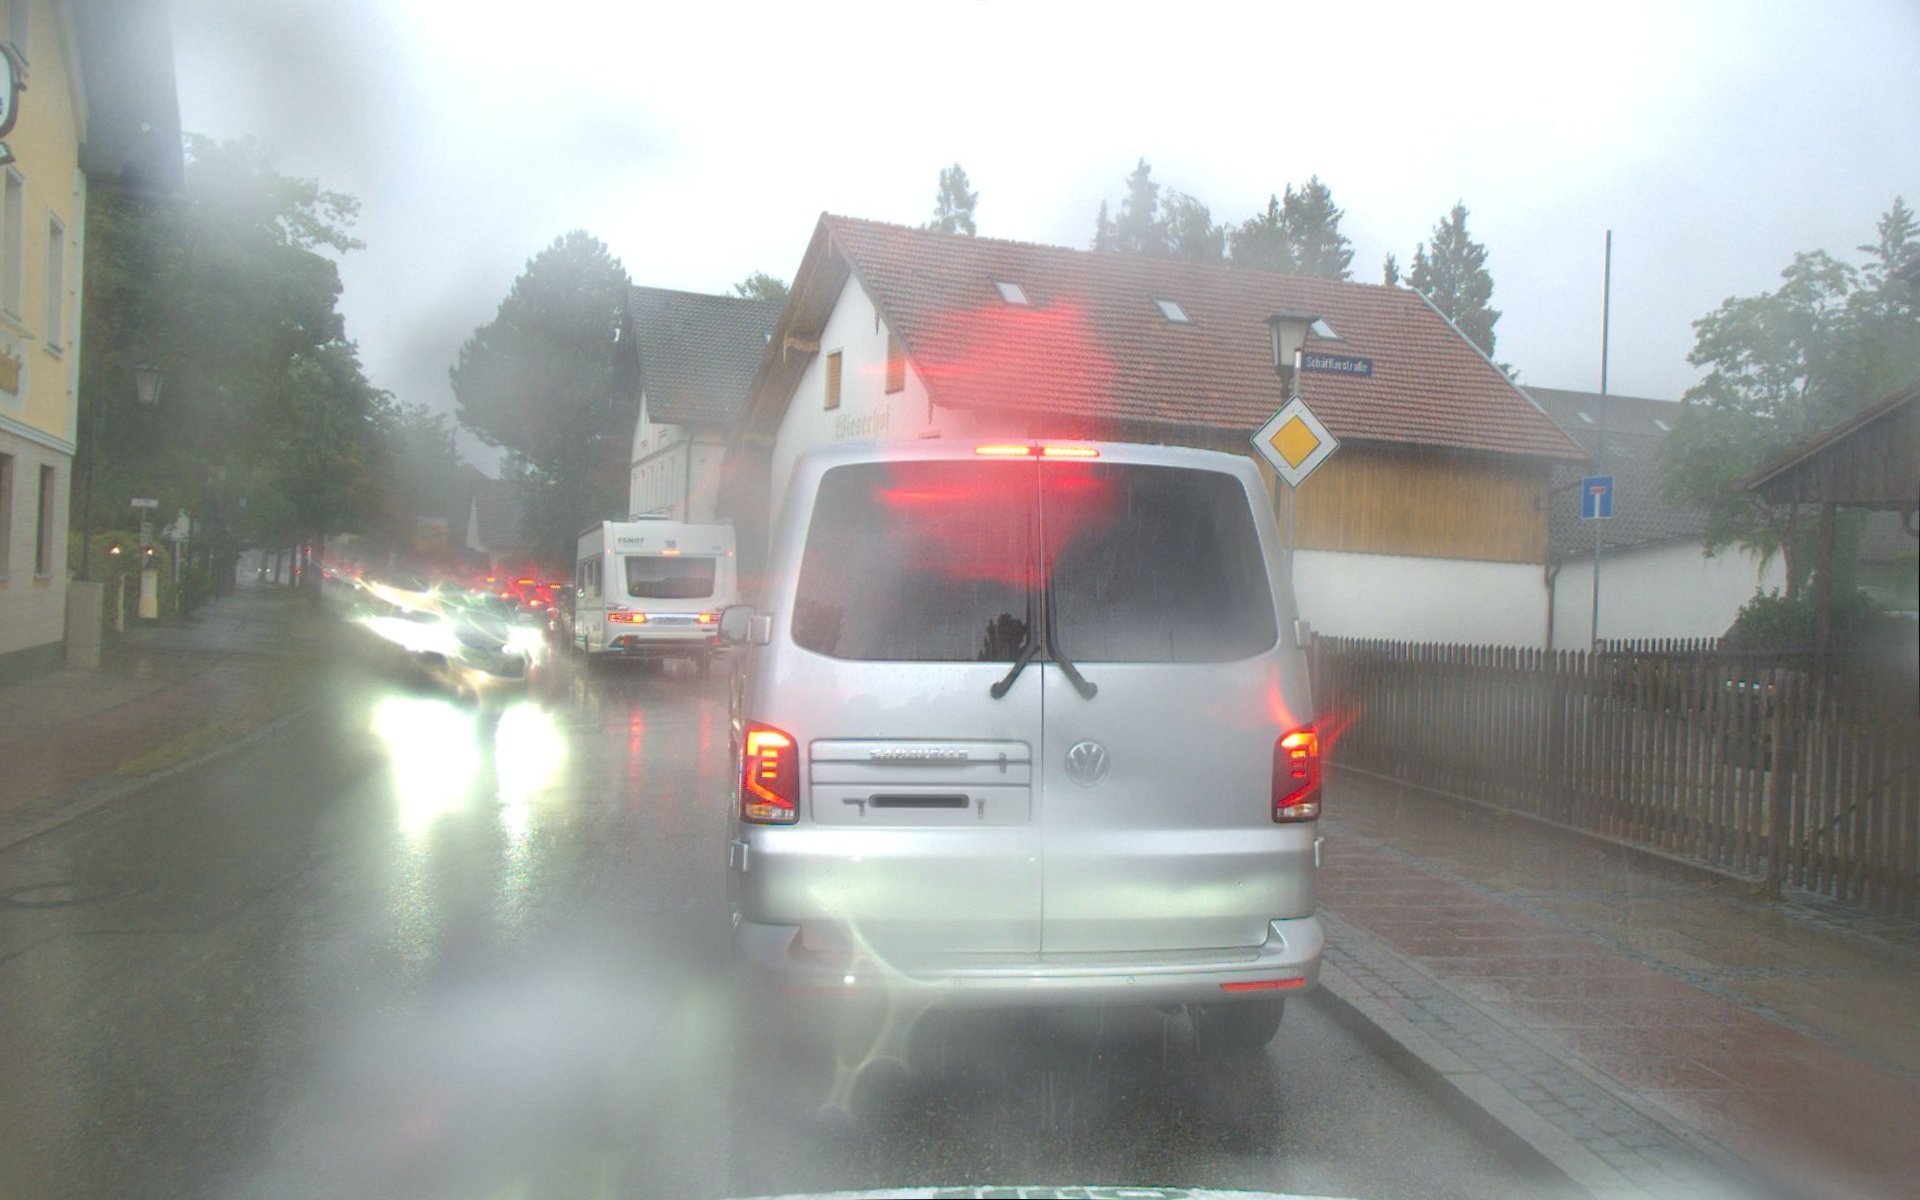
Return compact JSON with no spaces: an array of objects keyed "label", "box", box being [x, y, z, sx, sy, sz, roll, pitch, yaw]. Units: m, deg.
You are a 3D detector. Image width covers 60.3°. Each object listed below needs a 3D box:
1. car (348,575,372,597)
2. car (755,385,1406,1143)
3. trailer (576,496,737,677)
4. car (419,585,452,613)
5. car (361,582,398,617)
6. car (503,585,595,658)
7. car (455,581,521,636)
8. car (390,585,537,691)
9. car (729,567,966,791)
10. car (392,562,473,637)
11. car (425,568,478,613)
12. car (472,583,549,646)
[{"label":"car","box":[-50.316,-1.153,138.796,1.835,1.788,4.458,-2,1,-19]},{"label":"car","box":[0.166,0.441,6.962,1.741,1.997,5.070,1,0,-4]},{"label":"trailer","box":[-5.685,-0.225,30.253,2.234,2.955,6.104,1,0,-16]},{"label":"car","box":[-40.046,-0.074,126.186,2.137,1.932,4.985,3,1,-20]},{"label":"car","box":[-31.380,-0.042,89.434,1.835,1.788,4.458,-2,1,-19]},{"label":"car","box":[-12.532,0.602,50.197,2.137,1.932,4.985,3,1,-20]},{"label":"car","box":[-18.915,0.309,66.138,2.137,1.932,4.985,3,1,-20]},{"label":"car","box":[-7.520,0.491,24.774,1.835,1.382,4.456,0,1,-20]},{"label":"car","box":[-1.141,0.532,14.466,1.677,1.611,4.676,-1,1,-9]},{"label":"car","box":[-13.673,-0.032,42.808,1.834,1.788,4.459,-2,1,-18]},{"label":"car","box":[-24.180,-0.476,78.568,2.137,1.932,4.985,3,1,-20]},{"label":"car","box":[-15.847,0.473,58.168,2.137,1.932,4.985,3,1,-20]}]
